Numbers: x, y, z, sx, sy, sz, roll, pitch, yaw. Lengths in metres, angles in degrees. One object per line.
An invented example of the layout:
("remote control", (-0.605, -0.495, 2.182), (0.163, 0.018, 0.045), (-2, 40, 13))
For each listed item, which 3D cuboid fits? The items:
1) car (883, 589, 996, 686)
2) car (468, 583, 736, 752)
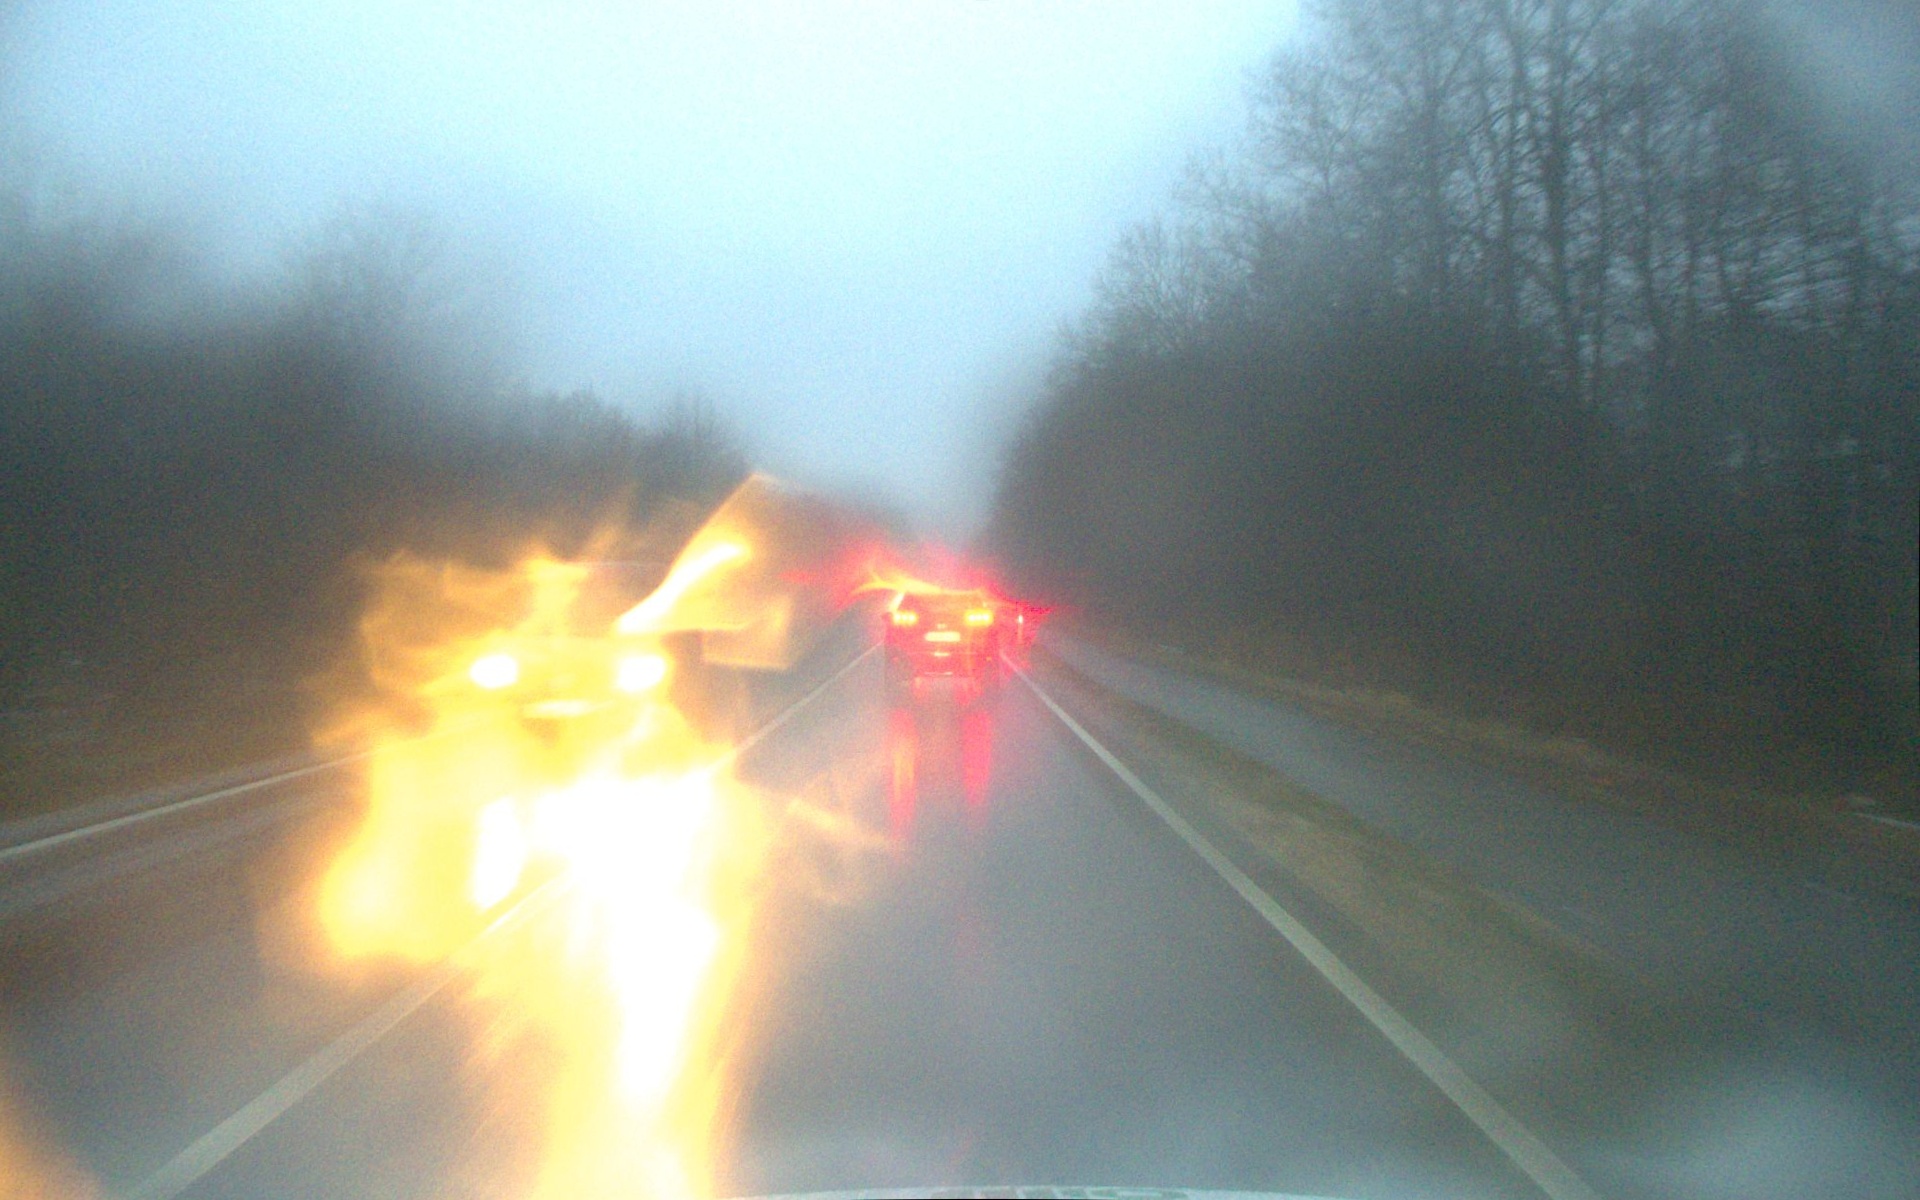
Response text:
("car", (-0.326, 0.540, 26.096), (1.644, 1.414, 4.097), (0, 0, -1))
("car", (-3.395, 0.583, 16.475), (1.777, 1.464, 4.098), (0, 0, 0))
